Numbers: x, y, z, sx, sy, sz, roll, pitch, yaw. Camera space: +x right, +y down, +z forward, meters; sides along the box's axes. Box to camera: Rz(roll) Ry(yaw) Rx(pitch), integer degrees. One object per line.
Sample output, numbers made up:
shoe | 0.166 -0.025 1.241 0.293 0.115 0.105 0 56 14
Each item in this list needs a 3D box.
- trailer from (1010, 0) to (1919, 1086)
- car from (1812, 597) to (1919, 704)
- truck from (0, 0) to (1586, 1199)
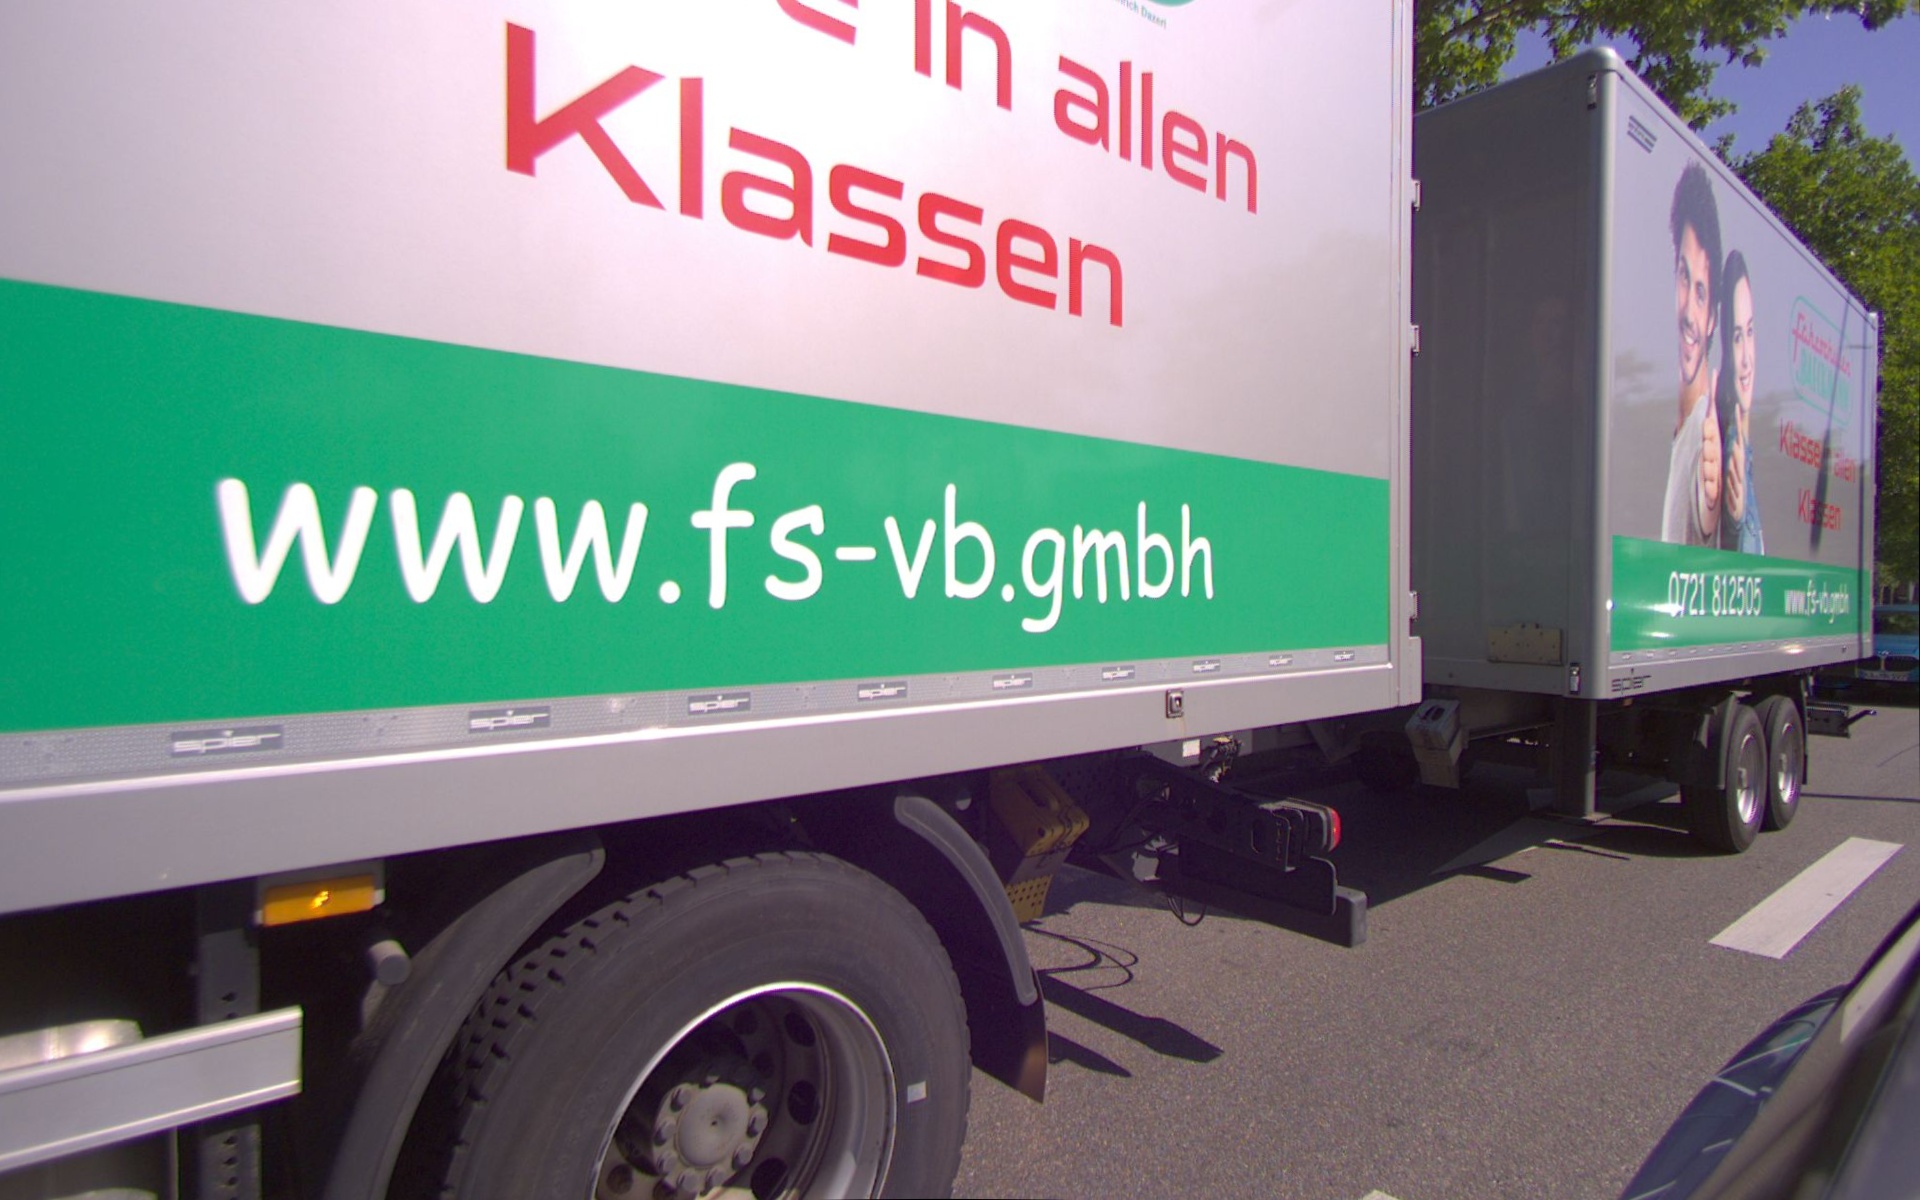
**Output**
trailer | 4.080 -0.547 6.549 7.596 3.925 2.743 -1 2 -39
car | 14.823 0.713 15.662 4.058 1.437 1.871 0 2 -41
truck | -2.331 -0.659 1.460 8.564 3.938 2.737 -1 2 -38
